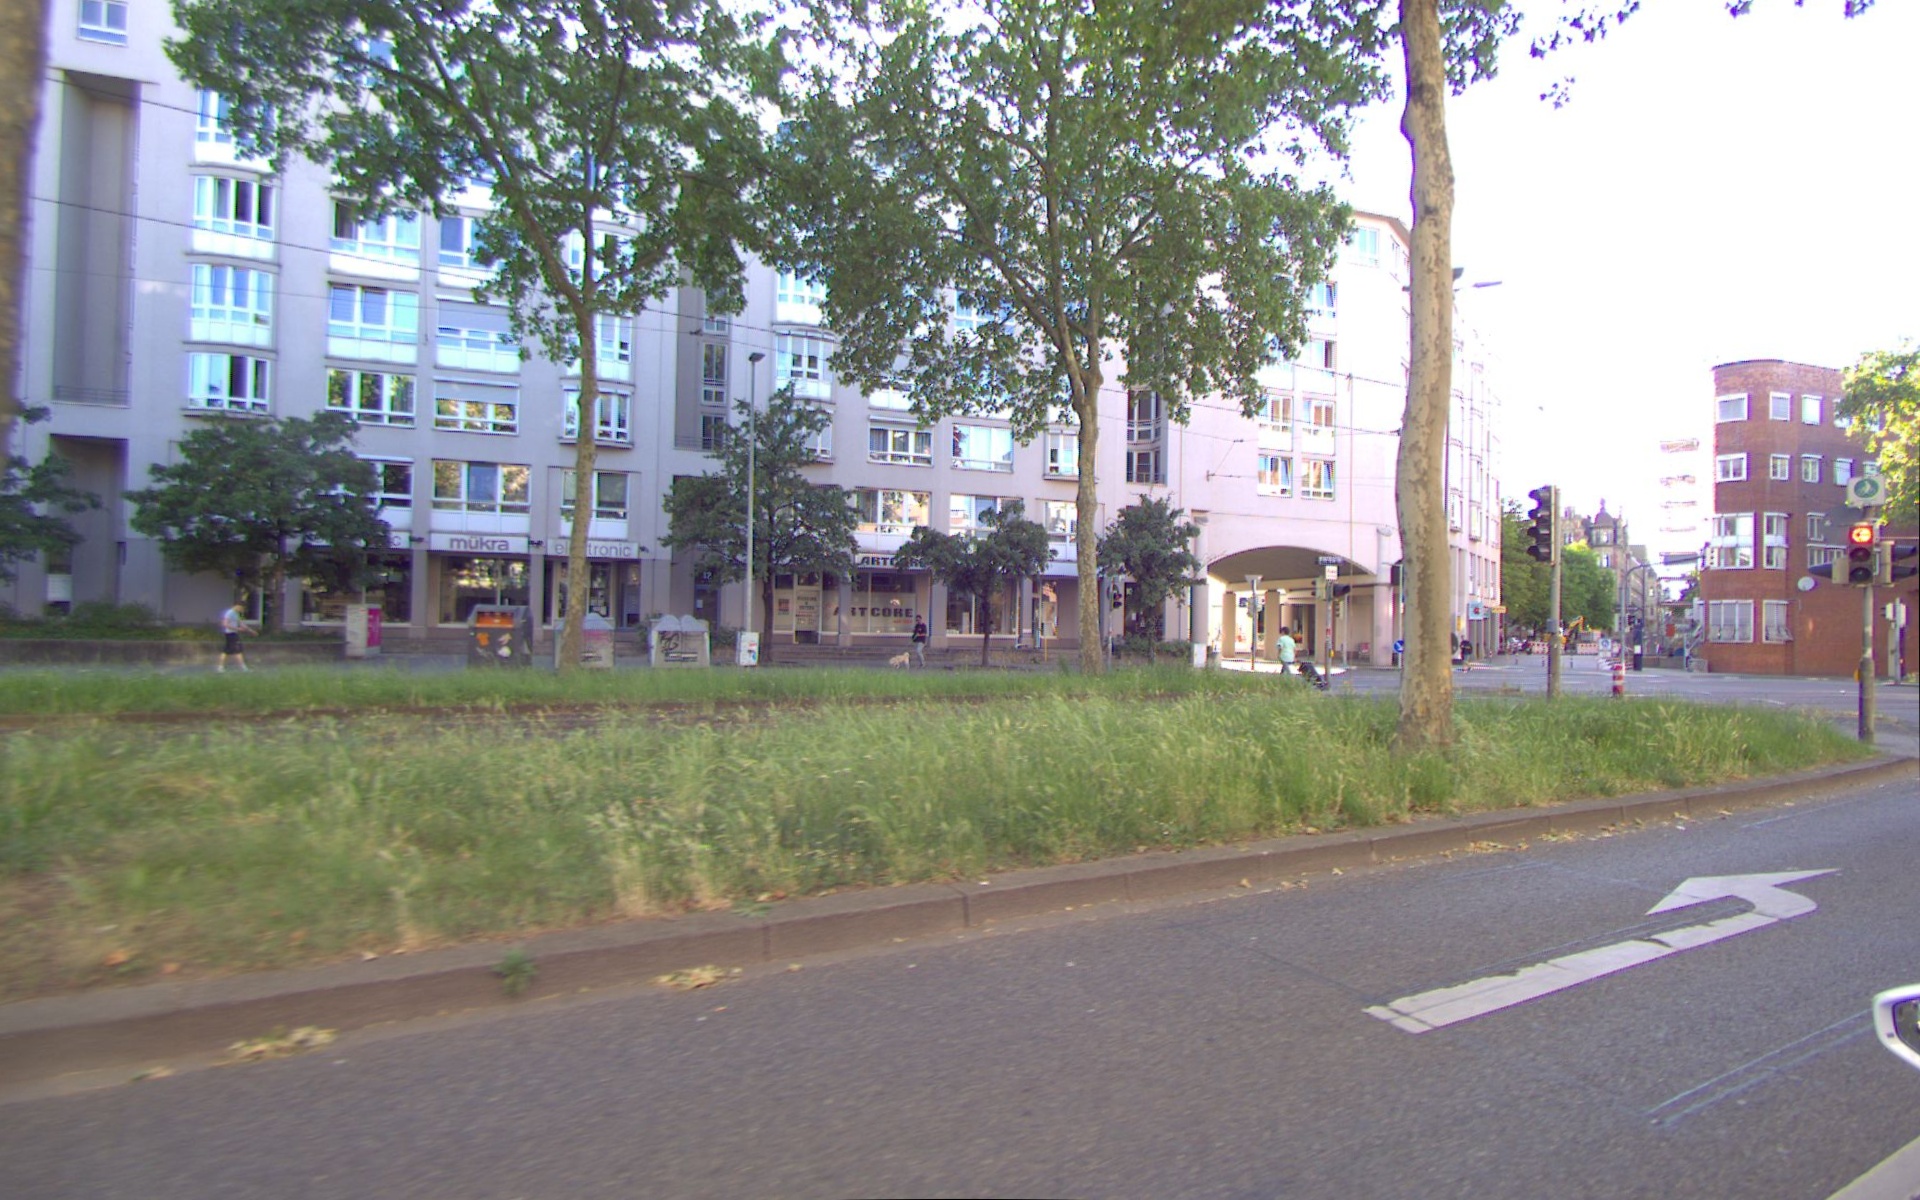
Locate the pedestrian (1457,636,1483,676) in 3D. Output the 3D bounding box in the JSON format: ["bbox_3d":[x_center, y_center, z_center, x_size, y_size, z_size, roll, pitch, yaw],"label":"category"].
[{"bbox_3d":[24.717,2.723,48.687,0.741,1.894,0.853,1,-1,-22],"label":"pedestrian"}]

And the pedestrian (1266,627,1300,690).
[{"bbox_3d":[7.962,1.442,24.789,0.526,1.523,0.618,1,-1,-16],"label":"pedestrian"}]

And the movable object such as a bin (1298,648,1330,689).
[{"bbox_3d":[8.582,1.667,24.383,0.530,0.966,0.510,1,-1,-16],"label":"movable object such as a bin"}]

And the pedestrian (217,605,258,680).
[{"bbox_3d":[-17.364,1.011,24.157,0.639,1.763,0.726,1,-1,-26],"label":"pedestrian"}]

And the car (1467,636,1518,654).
[{"bbox_3d":[47.299,3.985,89.270,3.926,1.419,1.998,1,-1,28],"label":"car"}]

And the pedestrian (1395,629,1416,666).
[{"bbox_3d":[25.049,2.664,56.509,0.825,2.040,0.883,0,-1,42],"label":"pedestrian"}]

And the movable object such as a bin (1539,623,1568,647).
[{"bbox_3d":[61.744,3.641,104.489,2.769,2.341,1.907,2,-2,-44],"label":"movable object such as a bin"}]

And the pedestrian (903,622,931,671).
[{"bbox_3d":[-1.489,1.585,34.689,0.776,1.660,0.706,1,-1,-18],"label":"pedestrian"}]
